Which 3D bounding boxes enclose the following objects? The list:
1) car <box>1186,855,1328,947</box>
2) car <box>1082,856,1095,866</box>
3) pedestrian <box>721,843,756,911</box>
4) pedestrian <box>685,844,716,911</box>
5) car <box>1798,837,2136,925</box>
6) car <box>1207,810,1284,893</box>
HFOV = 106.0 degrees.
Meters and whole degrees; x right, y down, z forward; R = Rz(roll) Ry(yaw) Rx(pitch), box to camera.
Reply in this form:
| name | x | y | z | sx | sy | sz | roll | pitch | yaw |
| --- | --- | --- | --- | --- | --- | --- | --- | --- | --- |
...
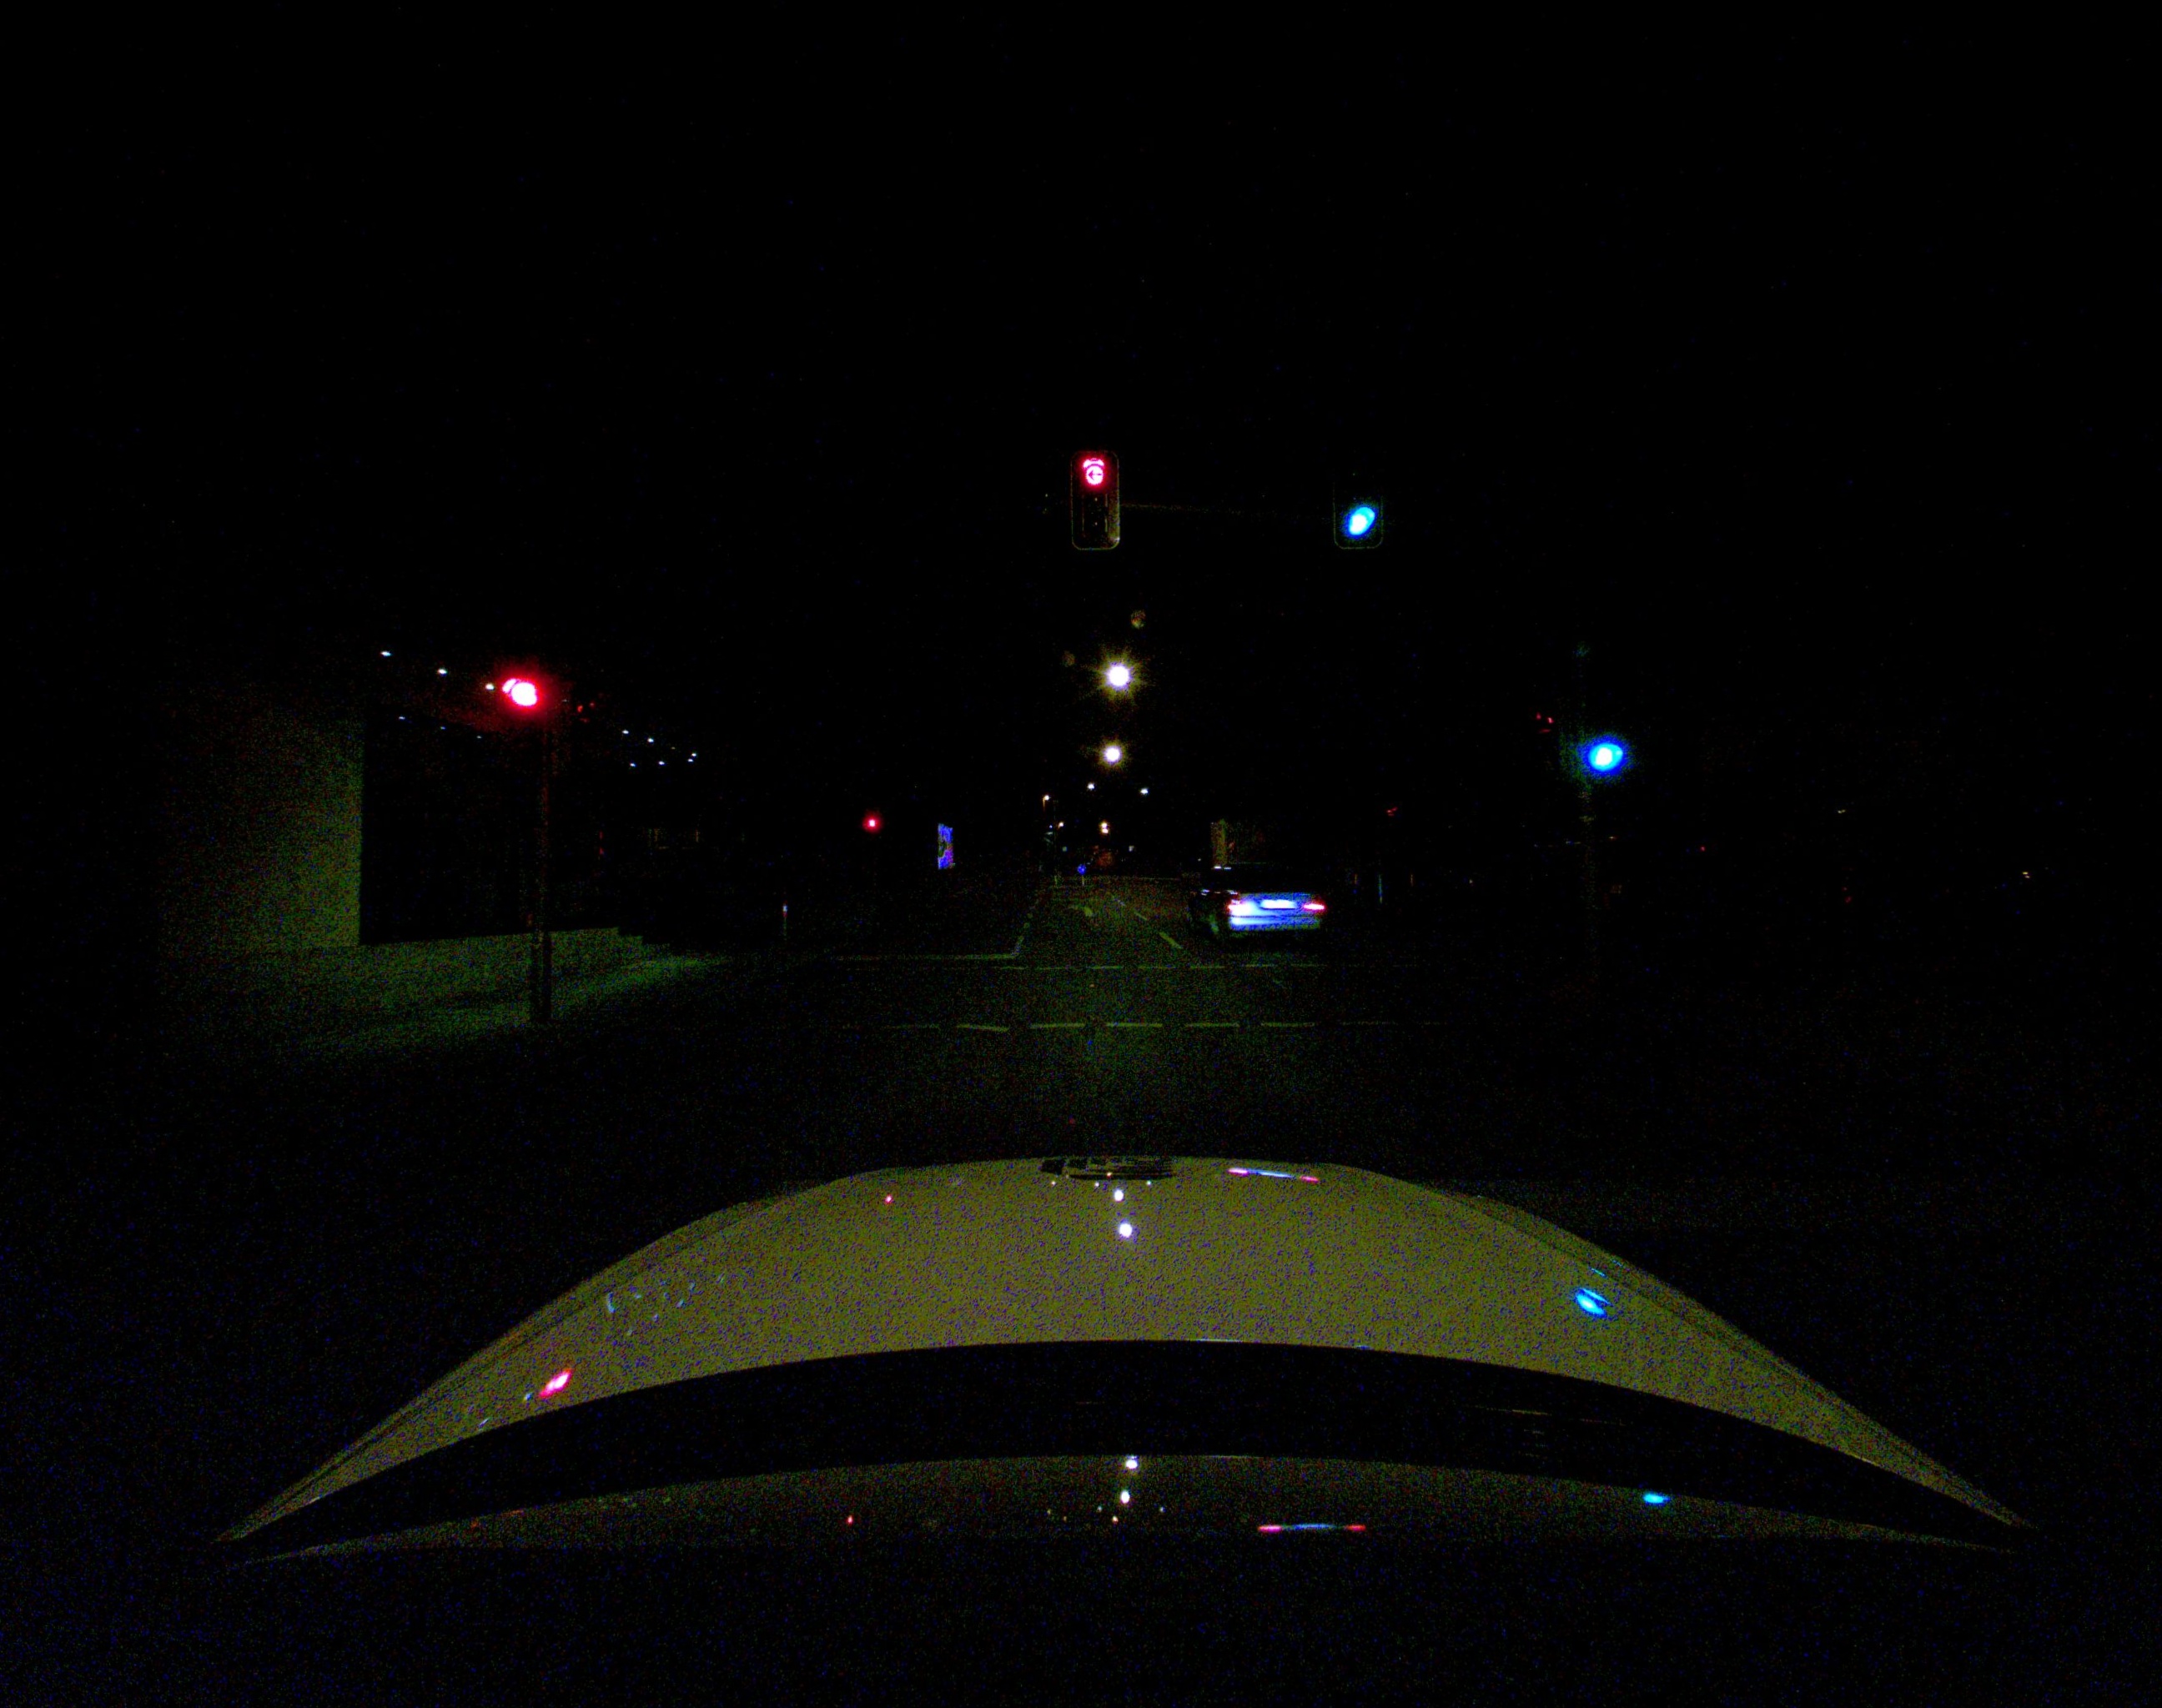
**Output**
| name | x | y | z | sx | sy | sz | roll | pitch | yaw |
| --- | --- | --- | --- | --- | --- | --- | --- | --- | --- |
| car | 3.108 | 0.775 | 15.199 | 1.770 | 1.486 | 3.999 | 0 | -1 | 0 |
| car | 1.248 | 1.162 | 134.529 | 1.901 | 1.557 | 3.906 | 0 | -1 | 2 |
| pedestrian | -9.234 | 0.610 | 21.974 | 0.568 | 1.778 | 0.737 | 1 | -1 | 1 |
| pedestrian | -10.028 | 0.622 | 21.469 | 0.568 | 1.731 | 0.544 | 0 | -1 | 1 |
| car | 17.457 | 0.565 | 16.286 | 4.342 | 1.560 | 1.807 | -2 | -3 | 8 |
| car | 6.762 | -0.093 | 34.220 | 2.287 | 3.093 | 5.845 | -2 | -1 | 3 |
